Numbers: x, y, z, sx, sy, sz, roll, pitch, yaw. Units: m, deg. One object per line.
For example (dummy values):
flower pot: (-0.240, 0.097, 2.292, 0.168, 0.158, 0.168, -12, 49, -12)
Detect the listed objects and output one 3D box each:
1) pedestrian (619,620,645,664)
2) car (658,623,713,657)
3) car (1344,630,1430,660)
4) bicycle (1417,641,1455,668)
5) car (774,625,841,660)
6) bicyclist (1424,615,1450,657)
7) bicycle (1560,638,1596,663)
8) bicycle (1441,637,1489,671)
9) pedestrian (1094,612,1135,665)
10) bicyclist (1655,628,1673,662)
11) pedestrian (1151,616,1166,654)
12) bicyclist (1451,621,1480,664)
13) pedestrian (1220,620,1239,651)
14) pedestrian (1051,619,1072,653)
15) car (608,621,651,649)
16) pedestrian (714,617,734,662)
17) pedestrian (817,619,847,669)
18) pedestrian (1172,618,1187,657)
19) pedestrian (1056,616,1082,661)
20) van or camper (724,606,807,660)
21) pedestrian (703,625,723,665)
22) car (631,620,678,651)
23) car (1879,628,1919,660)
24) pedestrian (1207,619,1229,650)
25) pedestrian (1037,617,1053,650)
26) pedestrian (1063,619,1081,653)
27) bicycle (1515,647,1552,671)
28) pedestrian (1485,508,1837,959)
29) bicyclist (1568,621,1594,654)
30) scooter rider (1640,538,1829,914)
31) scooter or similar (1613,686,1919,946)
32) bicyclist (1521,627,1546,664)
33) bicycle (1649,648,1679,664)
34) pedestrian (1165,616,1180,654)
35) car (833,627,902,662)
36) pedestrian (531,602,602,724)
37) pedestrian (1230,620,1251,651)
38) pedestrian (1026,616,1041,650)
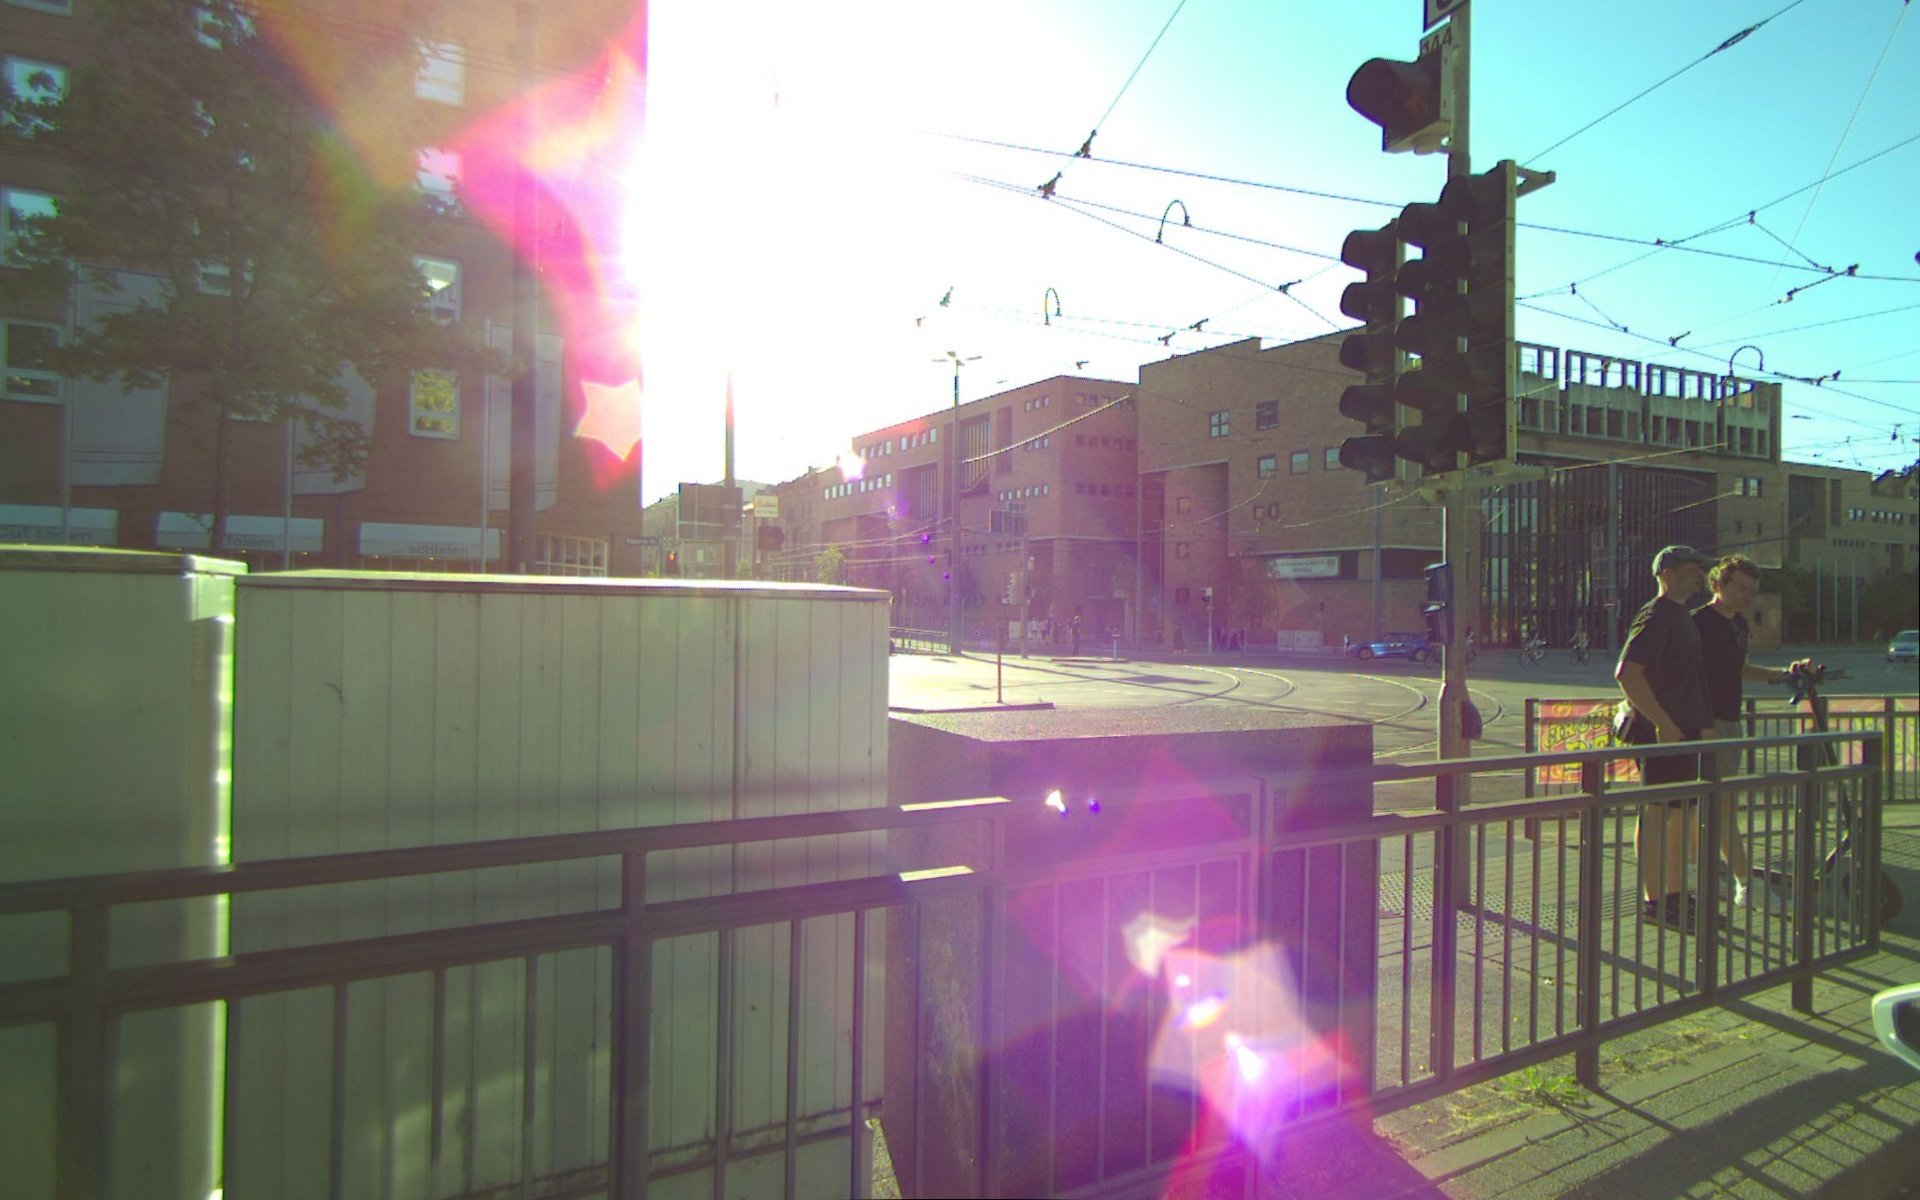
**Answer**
pedestrian: (-13.530, 1.738, 41.421, 0.857, 1.775, 0.672, 1, -1, -30)
car: (-14.927, 2.154, 54.566, 1.739, 1.750, 3.963, 1, -2, -33)
car: (20.924, 2.207, 49.323, 3.640, 1.394, 1.587, 0, -1, 11)
bicycle: (18.245, 2.071, 38.447, 1.887, 1.011, 0.647, 2, -2, -42)
car: (-7.800, 2.145, 51.181, 1.978, 1.709, 3.965, 1, -2, -33)
bicyclist: (18.261, 1.365, 38.470, 0.753, 1.595, 0.655, 1, -2, -41)
bicycle: (27.736, 2.257, 45.062, 1.993, 1.064, 0.647, 2, -1, -35)
bicycle: (19.031, 2.014, 37.849, 2.088, 1.157, 0.681, -1, 0, -34)
pedestrian: (6.144, 1.510, 39.886, 1.193, 2.040, 1.028, 2, 0, -30)
bicyclist: (34.576, 2.189, 49.341, 0.509, 1.647, 0.583, 1, -1, -35)
pedestrian: (10.973, 1.925, 55.403, 0.603, 2.040, 0.731, 0, -1, 30)
bicyclist: (19.082, 1.597, 37.890, 0.751, 1.581, 0.678, -1, 0, -34)
pedestrian: (18.218, 2.381, 67.898, 0.841, 2.079, 1.001, 1, -1, -32)
pedestrian: (6.024, 2.114, 59.608, 0.917, 2.010, 0.780, 1, -1, -32)
car: (-21.494, 2.242, 65.257, 1.738, 1.750, 3.965, 1, -2, -32)
pedestrian: (-10.724, 1.784, 45.610, 0.597, 2.040, 0.848, 1, -1, -38)
pedestrian: (-4.587, 1.569, 35.968, 0.860, 1.775, 0.670, 1, -2, -39)
pedestrian: (11.567, 1.976, 52.908, 0.603, 2.040, 0.731, 0, -1, 30)
pedestrian: (4.806, 1.691, 44.335, 0.866, 1.927, 0.718, 2, 0, -33)
van or camper: (-9.352, 1.568, 47.915, 1.981, 2.451, 4.980, 1, -2, -36)
pedestrian: (-11.696, 2.131, 47.574, 0.597, 1.843, 0.848, 1, -1, -38)
car: (-18.267, 2.102, 59.958, 1.738, 1.750, 3.965, 1, -2, -32)
car: (48.915, 2.256, 51.703, 3.962, 1.598, 1.610, 1, -2, -36)
pedestrian: (17.205, 2.299, 66.941, 0.902, 2.040, 1.151, 1, -1, -34)
pedestrian: (5.233, 2.063, 61.572, 0.644, 2.040, 0.780, 1, -1, -32)
pedestrian: (6.714, 2.137, 60.091, 0.742, 2.010, 0.780, 1, -1, -32)
bicycle: (24.466, 2.508, 42.867, 1.884, 1.011, 0.688, 1, -2, -37)
pedestrian: (3.407, 0.583, 4.976, 0.843, 1.908, 1.164, 1, -1, -25)
bicyclist: (27.970, 1.687, 45.233, 1.022, 1.494, 0.649, 2, -1, -35)
scooter rider: (4.183, 0.649, 5.434, 0.670, 1.877, 0.564, 3, -2, -25)
scooter or similar: (4.215, 1.036, 5.243, 0.639, 1.095, 1.199, 1, -1, -25)
bicyclist: (24.515, 1.943, 42.936, 0.752, 1.590, 0.656, 1, -2, -37)
bicycle: (34.588, 2.746, 49.345, 1.948, 0.781, 0.586, 1, -2, -35)
pedestrian: (11.650, 1.913, 55.065, 0.603, 2.040, 0.731, 0, -1, 30)
car: (-4.809, 2.239, 51.806, 1.978, 1.709, 3.965, 1, -2, -33)
pedestrian: (-6.164, 0.959, 15.715, 0.944, 1.822, 0.987, 2, 0, -24)
pedestrian: (18.755, 2.353, 67.166, 0.841, 2.079, 1.001, 1, -1, -32)
pedestrian: (4.506, 2.038, 61.631, 0.607, 2.040, 0.727, 1, -1, -32)
